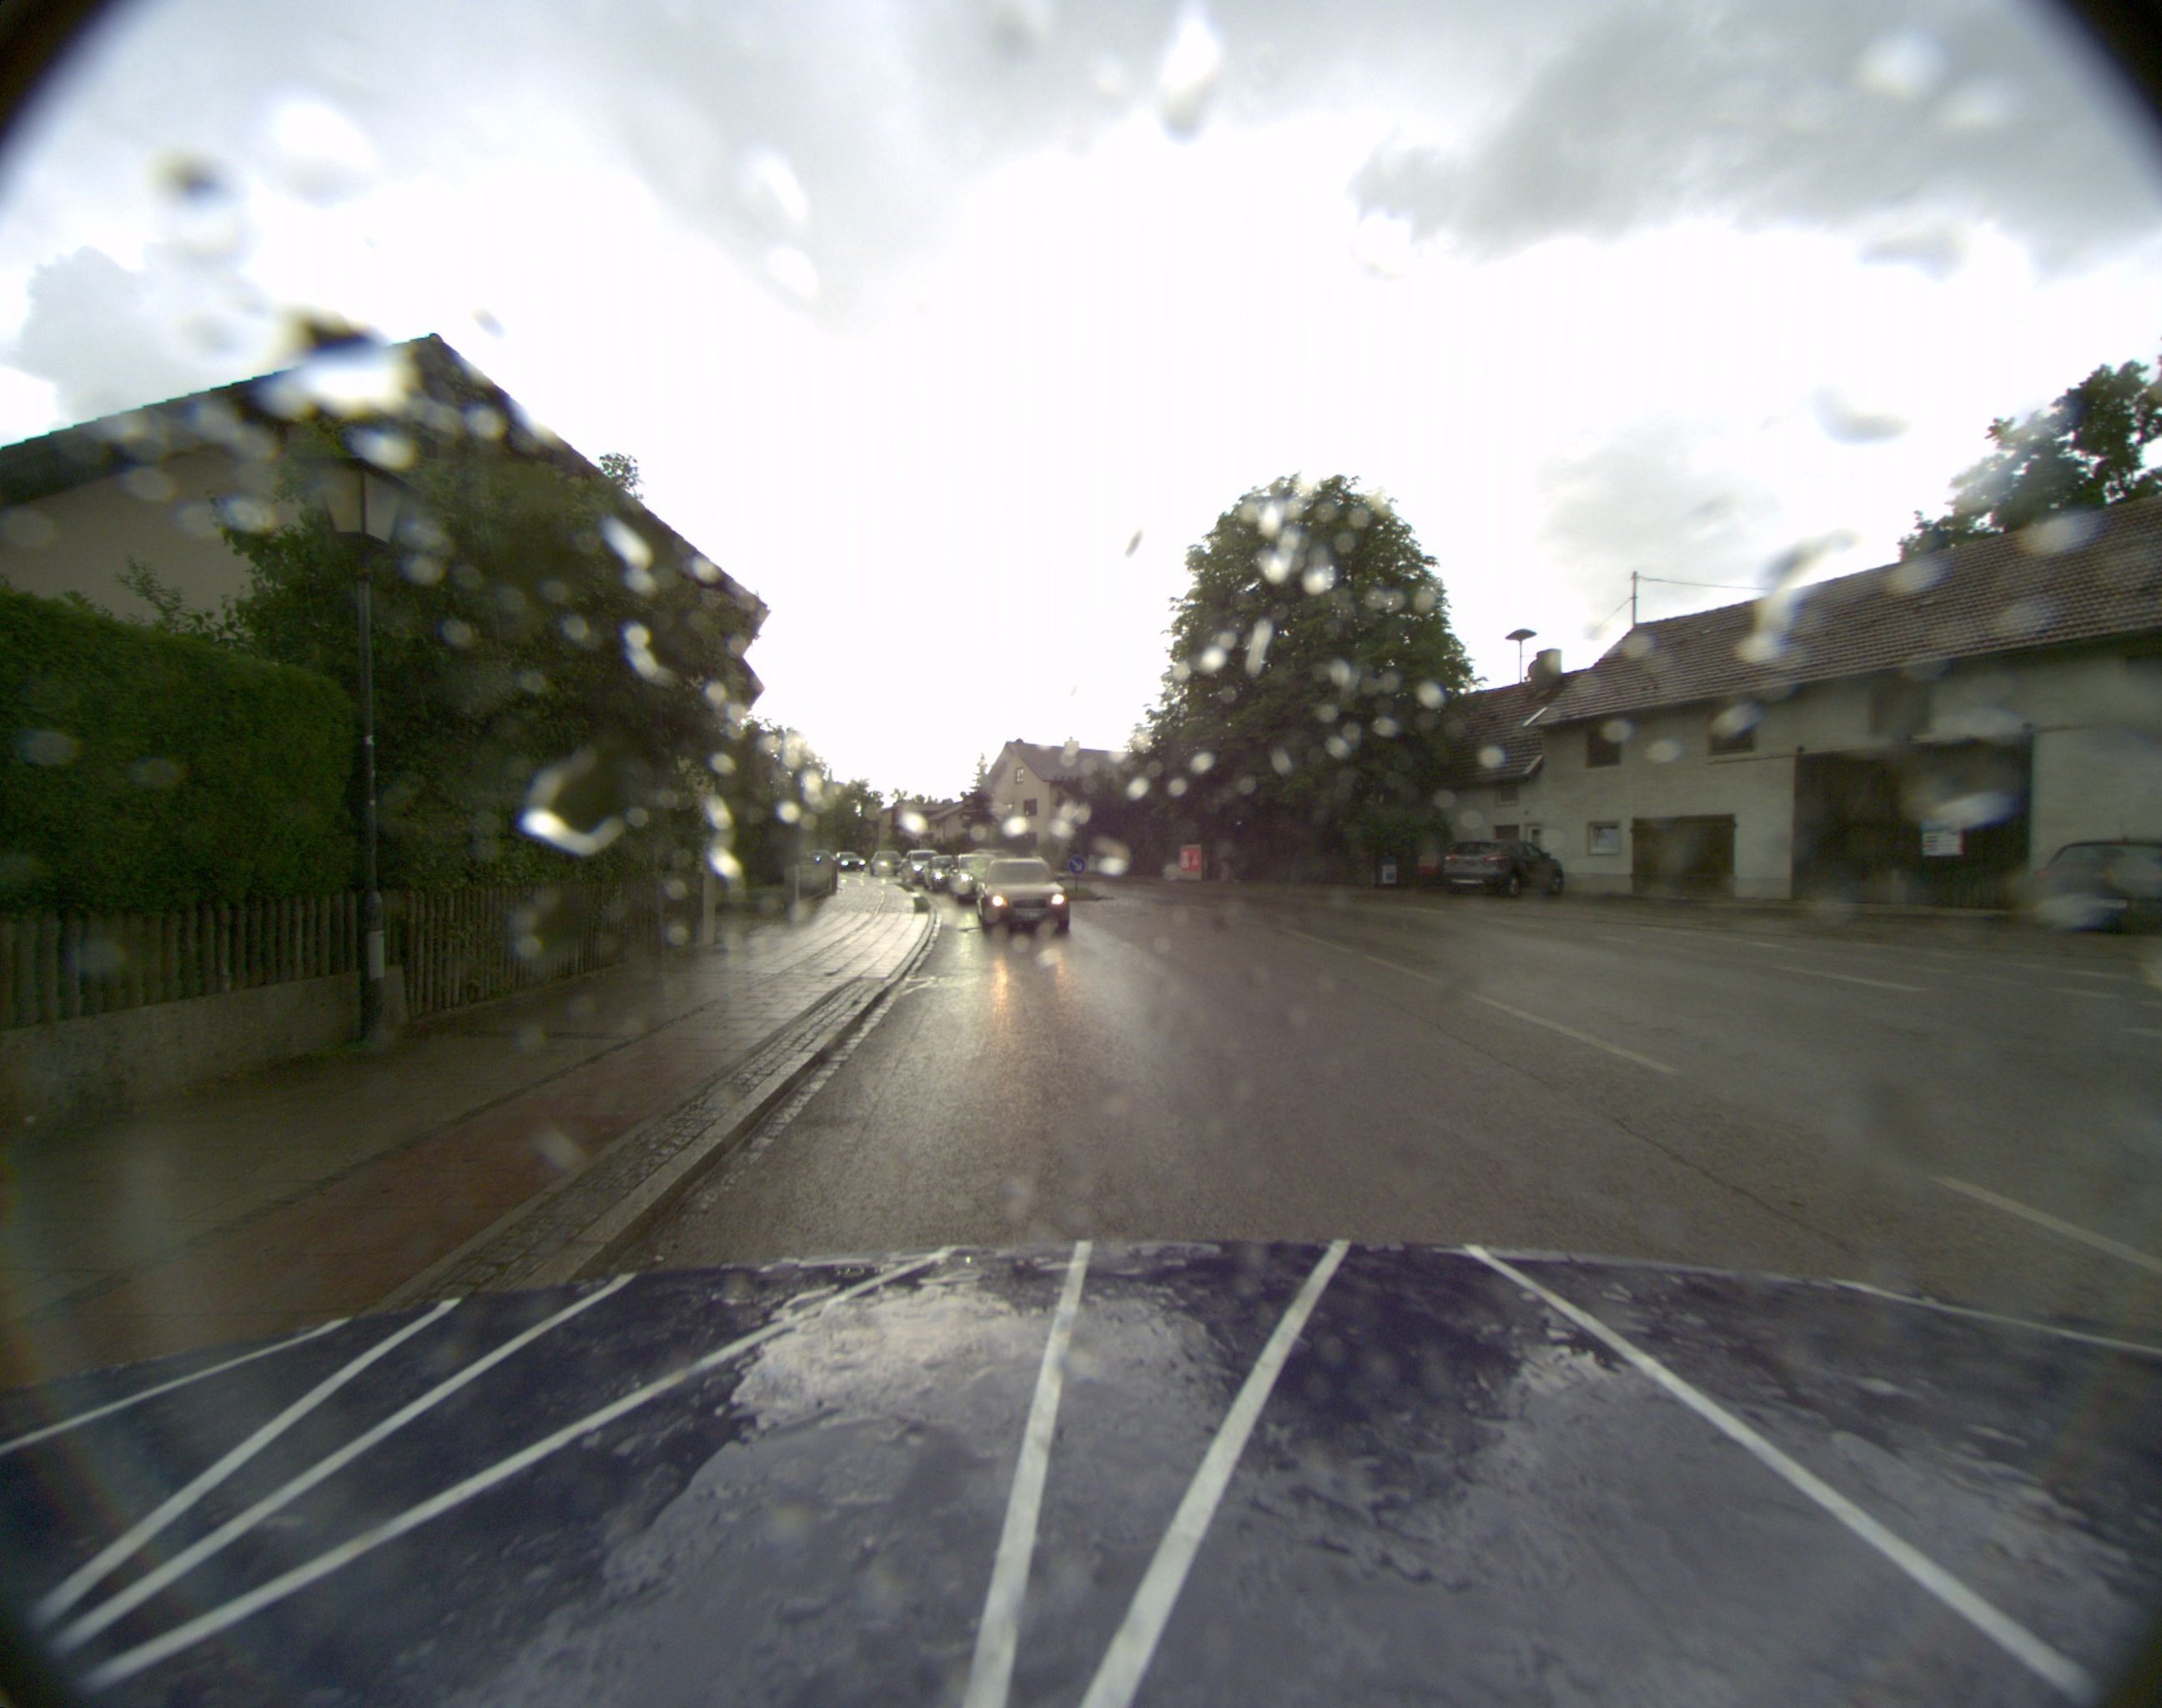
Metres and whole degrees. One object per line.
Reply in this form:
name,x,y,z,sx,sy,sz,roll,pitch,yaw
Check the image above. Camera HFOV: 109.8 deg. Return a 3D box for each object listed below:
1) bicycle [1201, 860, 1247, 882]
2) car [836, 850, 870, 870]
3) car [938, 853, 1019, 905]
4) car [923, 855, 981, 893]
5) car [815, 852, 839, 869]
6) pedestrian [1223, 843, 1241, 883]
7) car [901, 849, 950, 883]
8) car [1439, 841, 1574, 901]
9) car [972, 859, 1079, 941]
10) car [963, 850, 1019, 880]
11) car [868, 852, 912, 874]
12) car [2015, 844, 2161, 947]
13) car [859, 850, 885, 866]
bicycle,5.990,0.704,31.845,0.665,0.897,1.869,-2,1,-40
car,-18.747,0.464,62.292,1.797,1.539,4.271,-3,1,-28
car,-3.566,0.746,25.468,1.796,1.471,5.377,-2,1,-17
car,-5.441,0.769,31.582,1.796,1.387,4.274,-2,1,-17
car,-24.530,0.619,73.342,1.797,1.539,4.272,-3,1,-23
pedestrian,6.064,0.360,30.508,0.652,1.619,0.479,-1,1,21
car,-7.978,0.577,38.780,1.796,1.539,4.273,-3,1,-20
car,12.204,0.462,21.696,4.290,1.539,1.813,1,0,-38
car,-1.337,0.874,16.364,1.795,1.387,4.276,-2,1,-10
car,-5.243,0.621,43.880,2.002,1.586,4.183,-2,0,-24
car,-12.810,0.588,50.813,1.797,1.365,4.271,-3,1,-28
car,17.271,0.579,12.165,4.286,1.428,1.817,-1,1,-23
car,-21.590,0.399,78.415,1.797,1.539,4.272,-3,1,-27
